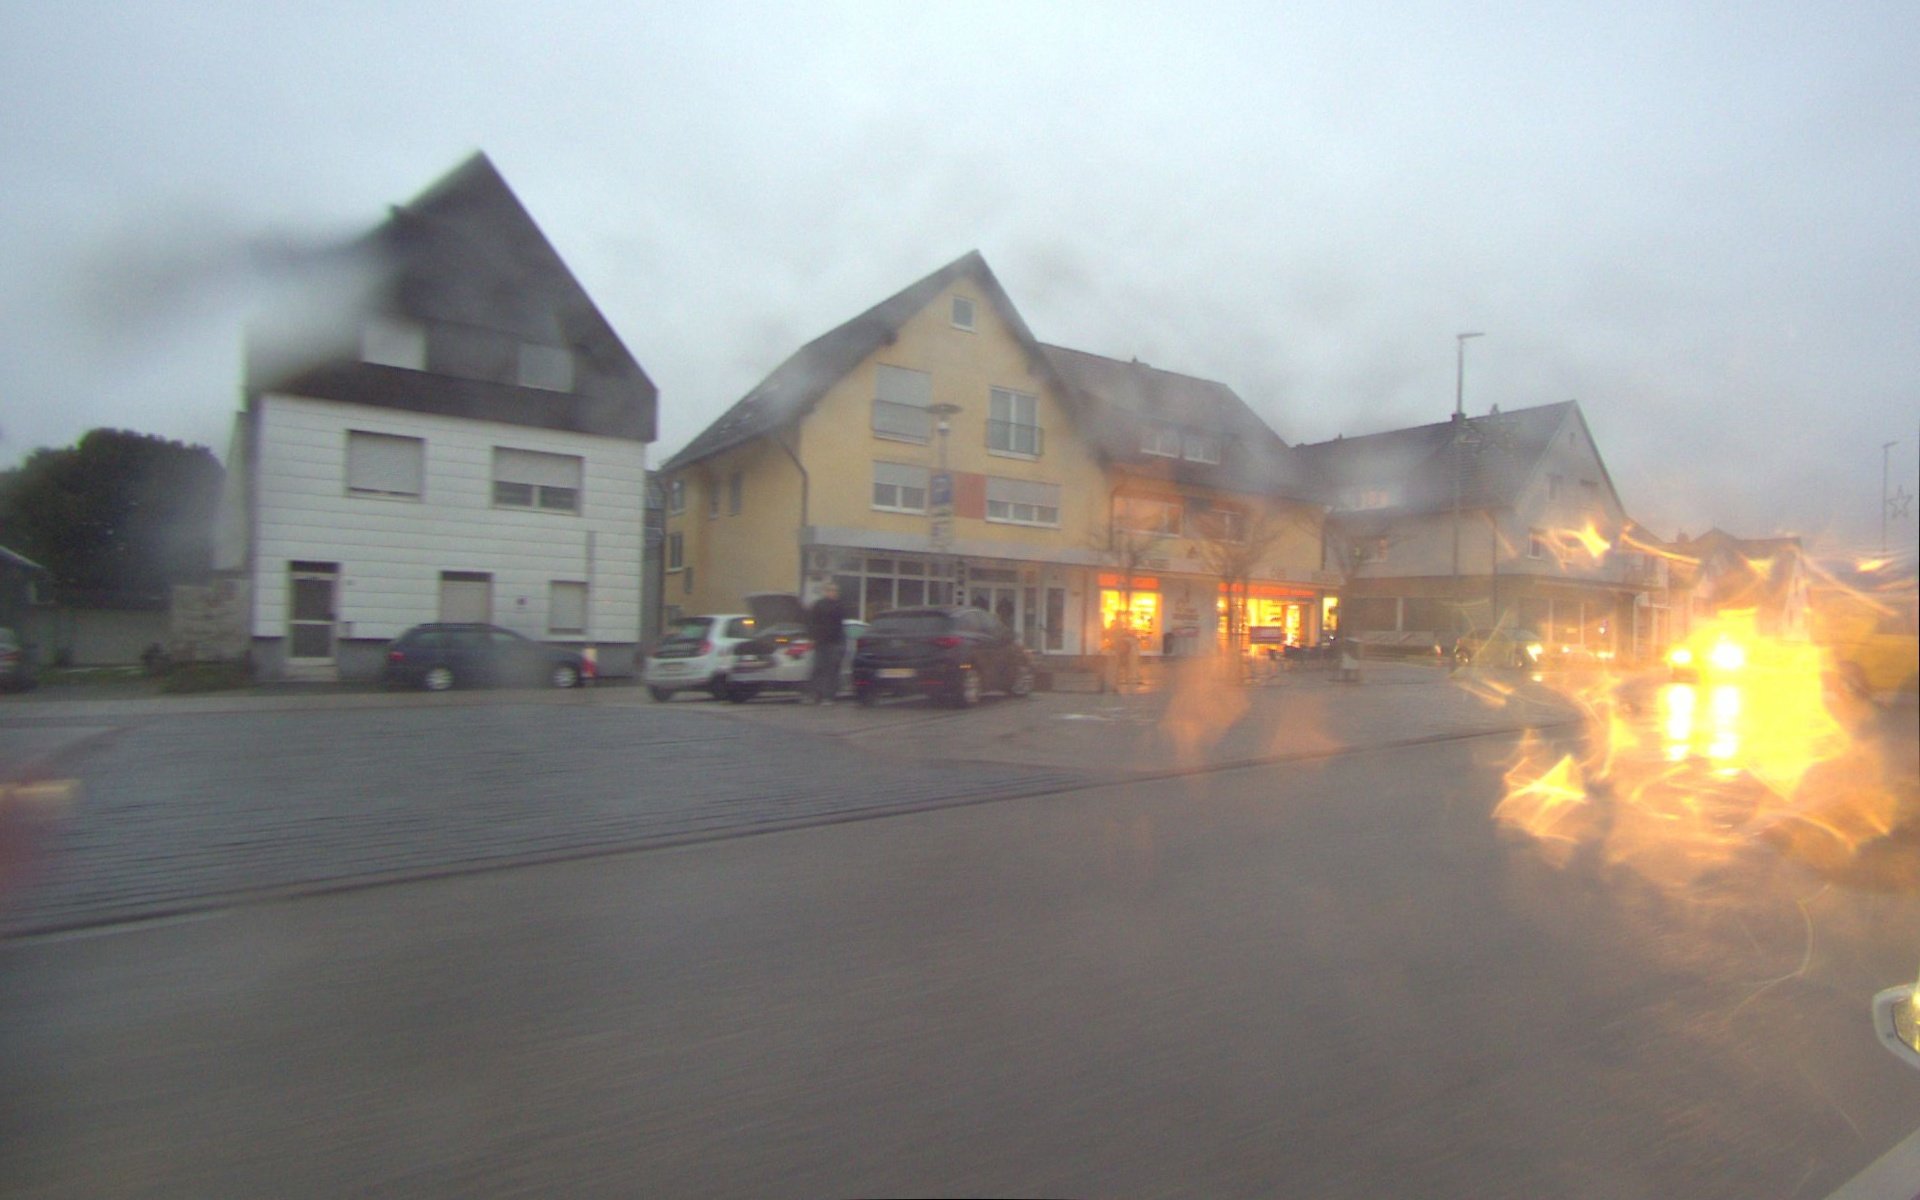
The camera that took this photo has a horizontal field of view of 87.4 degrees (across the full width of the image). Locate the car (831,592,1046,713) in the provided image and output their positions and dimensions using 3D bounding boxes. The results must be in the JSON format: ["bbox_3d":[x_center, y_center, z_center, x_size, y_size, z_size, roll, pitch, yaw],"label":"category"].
[{"bbox_3d":[-0.151,0.742,15.374,1.876,1.551,4.181,1,-1,20],"label":"car"}]

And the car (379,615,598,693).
[{"bbox_3d":[-10.847,1.184,23.179,4.375,1.520,1.900,1,3,-33],"label":"car"}]

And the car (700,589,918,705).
[{"bbox_3d":[-2.379,0.778,16.807,1.805,1.692,3.895,-2,-2,24],"label":"car"}]

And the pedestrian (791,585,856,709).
[{"bbox_3d":[-1.971,0.681,14.591,0.709,1.734,0.842,-1,-2,10],"label":"pedestrian"}]

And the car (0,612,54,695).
[{"bbox_3d":[-21.316,1.194,22.104,1.703,1.704,3.957,4,-5,-38],"label":"car"}]

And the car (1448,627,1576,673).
[{"bbox_3d":[19.141,1.717,34.996,1.688,1.440,3.827,3,-2,-16],"label":"car"}]

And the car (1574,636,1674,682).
[{"bbox_3d":[23.397,2.084,35.328,3.976,1.440,1.697,5,-3,-37],"label":"car"}]

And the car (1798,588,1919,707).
[{"bbox_3d":[17.435,0.839,17.234,1.961,2.040,4.899,2,-1,-1],"label":"car"}]

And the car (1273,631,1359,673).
[{"bbox_3d":[16.586,2.382,47.030,1.918,1.614,4.626,1,1,-7],"label":"car"}]

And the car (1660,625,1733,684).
[{"bbox_3d":[19.584,1.408,26.767,1.484,1.430,3.355,1,-1,36],"label":"car"}]

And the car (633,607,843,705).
[{"bbox_3d":[-4.090,1.025,19.133,1.733,1.652,3.995,-2,-2,28],"label":"car"}]

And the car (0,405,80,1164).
[{"bbox_3d":[-4.294,0.430,1.669,4.097,1.837,1.707,1,0,-37],"label":"car"}]
